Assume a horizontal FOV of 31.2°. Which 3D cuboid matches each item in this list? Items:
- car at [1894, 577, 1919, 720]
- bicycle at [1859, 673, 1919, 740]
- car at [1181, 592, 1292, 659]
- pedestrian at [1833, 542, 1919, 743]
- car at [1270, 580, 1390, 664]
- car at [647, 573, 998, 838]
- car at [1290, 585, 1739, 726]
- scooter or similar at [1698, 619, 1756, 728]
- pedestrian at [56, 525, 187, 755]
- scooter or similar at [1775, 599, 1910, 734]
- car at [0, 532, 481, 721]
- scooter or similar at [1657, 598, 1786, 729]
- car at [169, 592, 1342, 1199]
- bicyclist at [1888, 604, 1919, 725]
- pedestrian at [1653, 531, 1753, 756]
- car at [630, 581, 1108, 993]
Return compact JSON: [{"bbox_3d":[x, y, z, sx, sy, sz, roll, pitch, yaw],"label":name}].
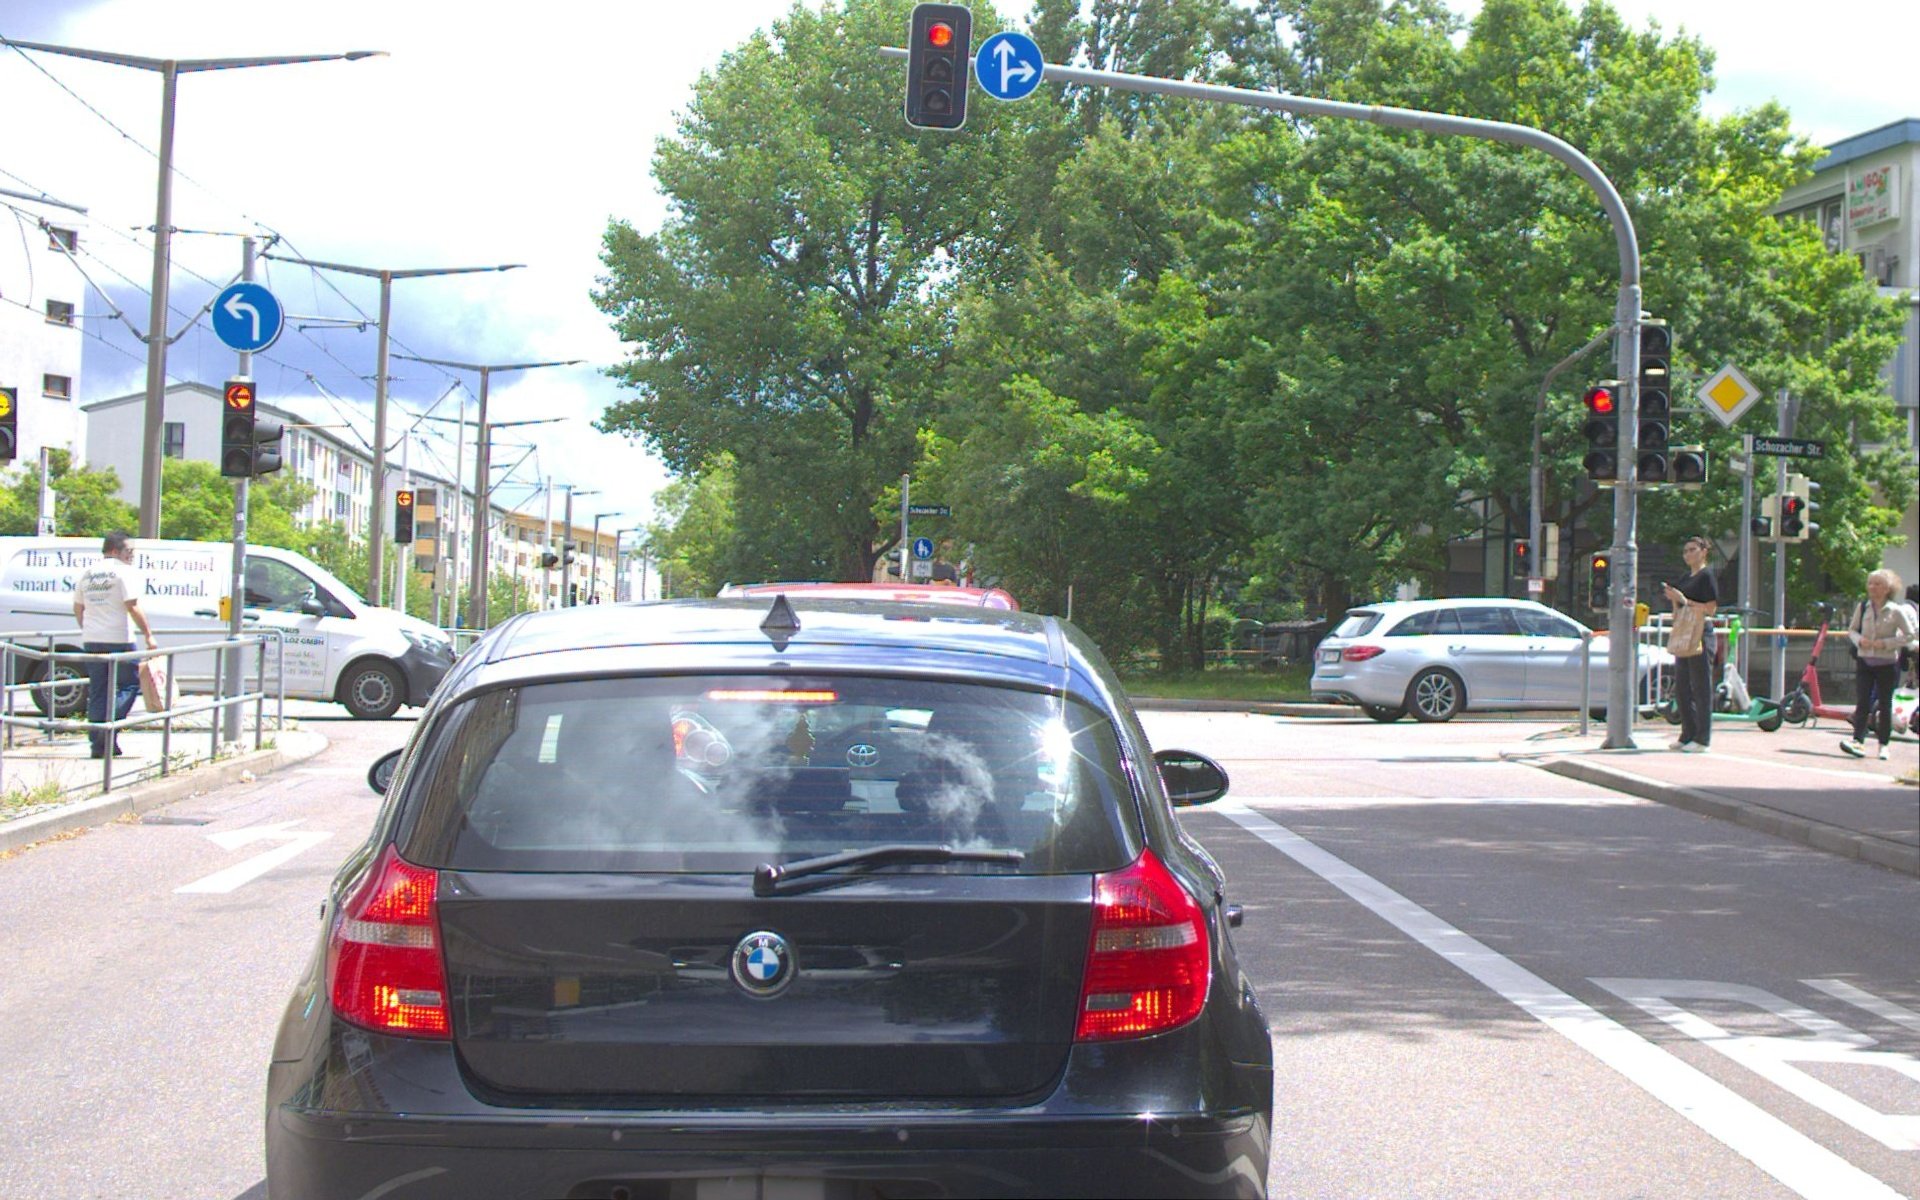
[{"bbox_3d":[15.699,0.668,48.327,4.534,2.007,2.000,0,0,-8],"label":"car"},{"bbox_3d":[9.459,1.023,33.246,1.585,0.608,0.534,1,0,-33],"label":"bicycle"},{"bbox_3d":[7.266,0.655,90.690,1.862,1.656,4.001,1,0,-11],"label":"car"},{"bbox_3d":[8.168,0.371,30.489,0.636,1.760,0.518,1,0,-11],"label":"pedestrian"},{"bbox_3d":[8.544,0.480,79.757,1.726,1.865,4.001,1,0,-9],"label":"car"},{"bbox_3d":[-0.777,0.560,21.107,1.900,1.417,4.539,1,0,-1],"label":"car"},{"bbox_3d":[6.454,0.639,40.268,4.789,1.517,2.000,1,0,-8],"label":"car"},{"bbox_3d":[7.792,0.736,34.906,0.548,1.060,1.261,1,0,13],"label":"scooter or similar"},{"bbox_3d":[-6.439,0.297,26.412,0.686,1.728,0.689,1,0,19],"label":"pedestrian"},{"bbox_3d":[8.669,0.649,33.784,1.150,1.268,0.555,2,0,2],"label":"scooter or similar"},{"bbox_3d":[-7.842,0.266,36.935,5.169,1.886,2.000,1,0,-3],"label":"car"},{"bbox_3d":[7.339,0.607,33.153,1.110,1.231,0.539,1,0,2],"label":"scooter or similar"},{"bbox_3d":[-0.321,0.706,6.734,1.700,1.395,3.420,1,0,-1],"label":"car"},{"bbox_3d":[9.282,0.622,33.133,0.398,1.153,0.503,-1,1,-33],"label":"bicyclist"},{"bbox_3d":[6.236,0.360,28.857,0.636,1.870,0.518,1,0,-11],"label":"pedestrian"},{"bbox_3d":[-0.335,0.639,13.637,1.638,1.395,3.420,1,0,-1],"label":"car"}]
